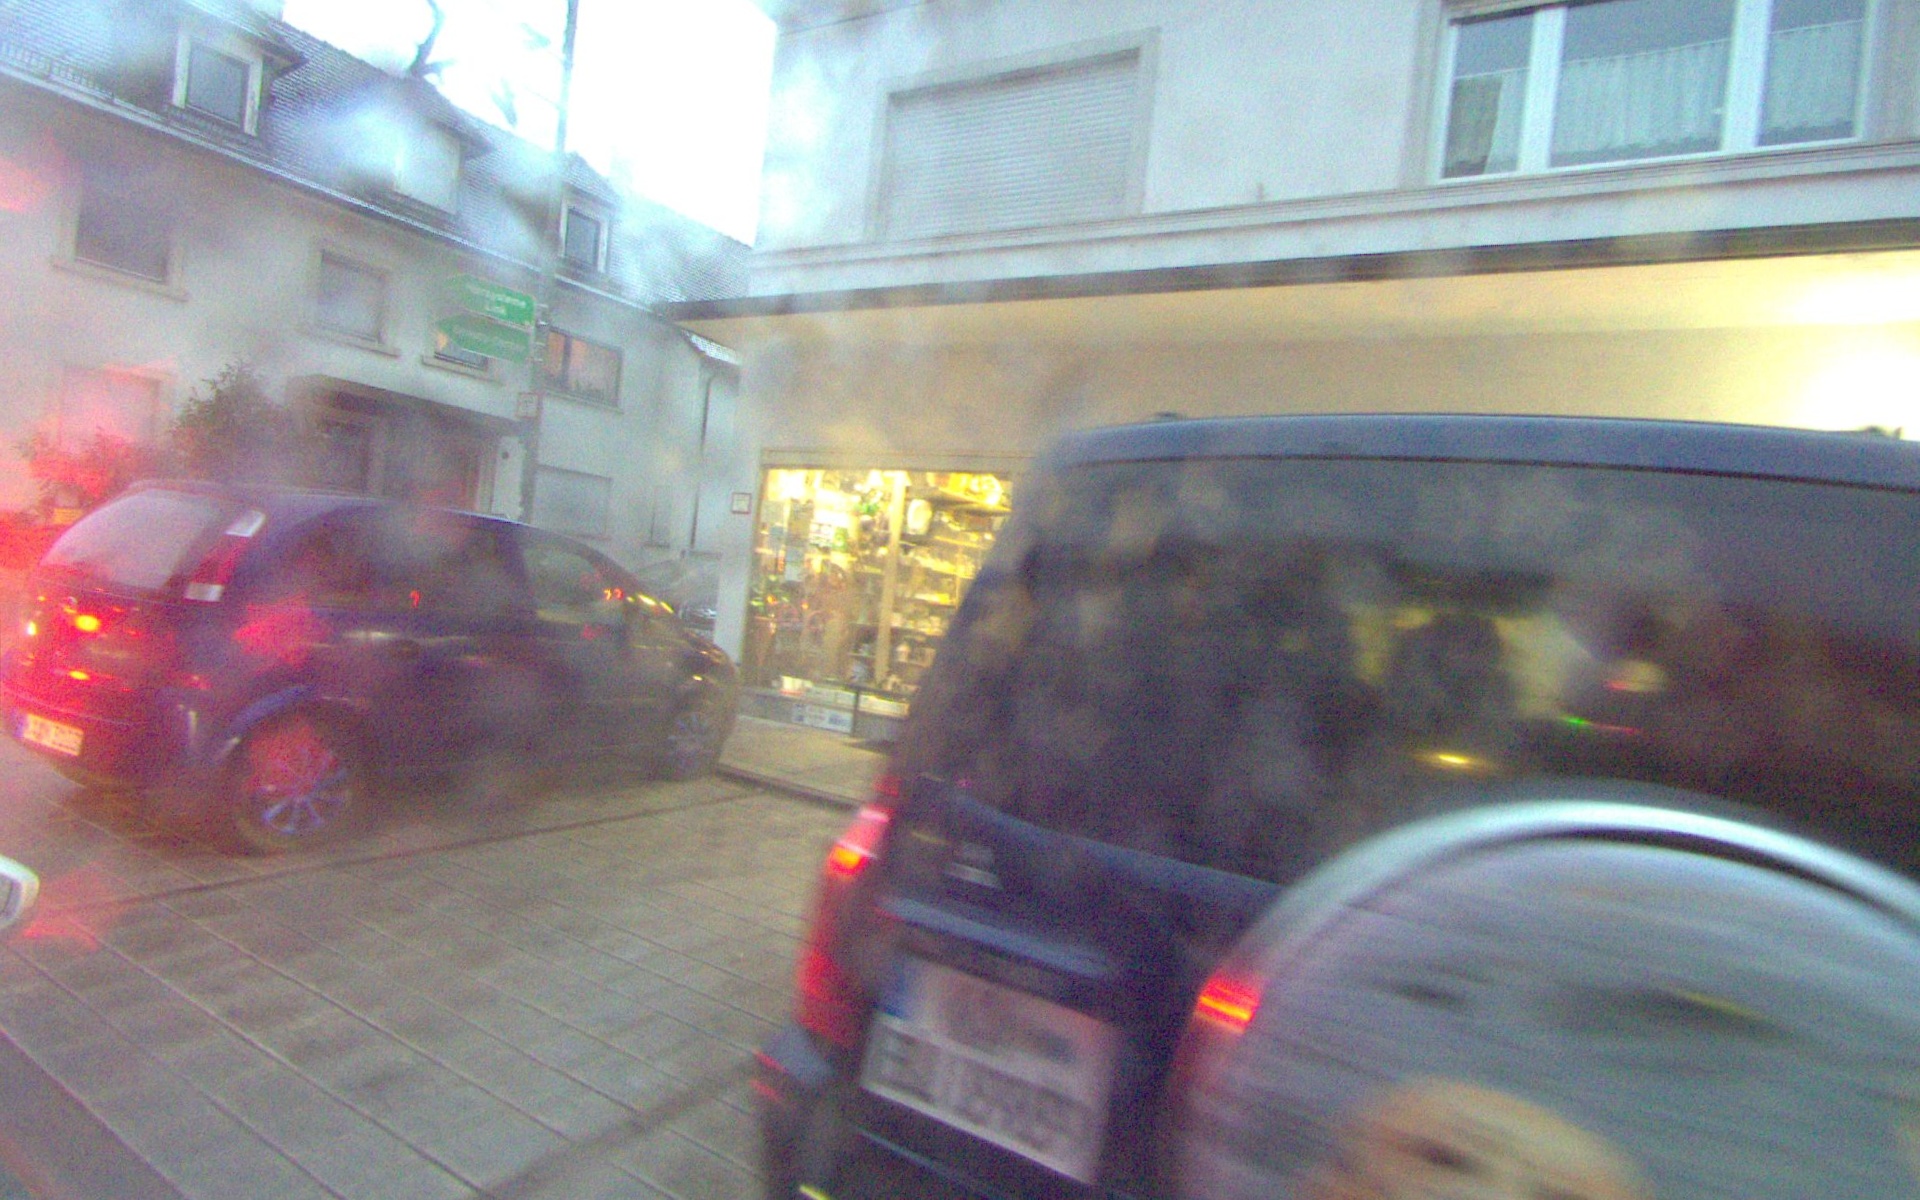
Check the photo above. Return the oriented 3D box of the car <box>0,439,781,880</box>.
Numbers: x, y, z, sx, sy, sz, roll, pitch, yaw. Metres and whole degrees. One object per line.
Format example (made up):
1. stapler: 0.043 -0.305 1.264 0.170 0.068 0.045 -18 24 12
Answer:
1. car: -2.943 0.251 5.838 1.652 1.599 3.877 7 1 26

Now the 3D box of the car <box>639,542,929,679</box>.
1. car: -2.431 0.210 14.850 1.967 1.590 3.990 7 1 31

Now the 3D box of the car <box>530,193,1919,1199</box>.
1. car: 1.378 0.708 2.849 1.911 1.798 4.611 8 1 27

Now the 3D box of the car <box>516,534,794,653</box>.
1. car: -4.843 -0.037 16.491 1.905 1.543 3.989 7 1 33
